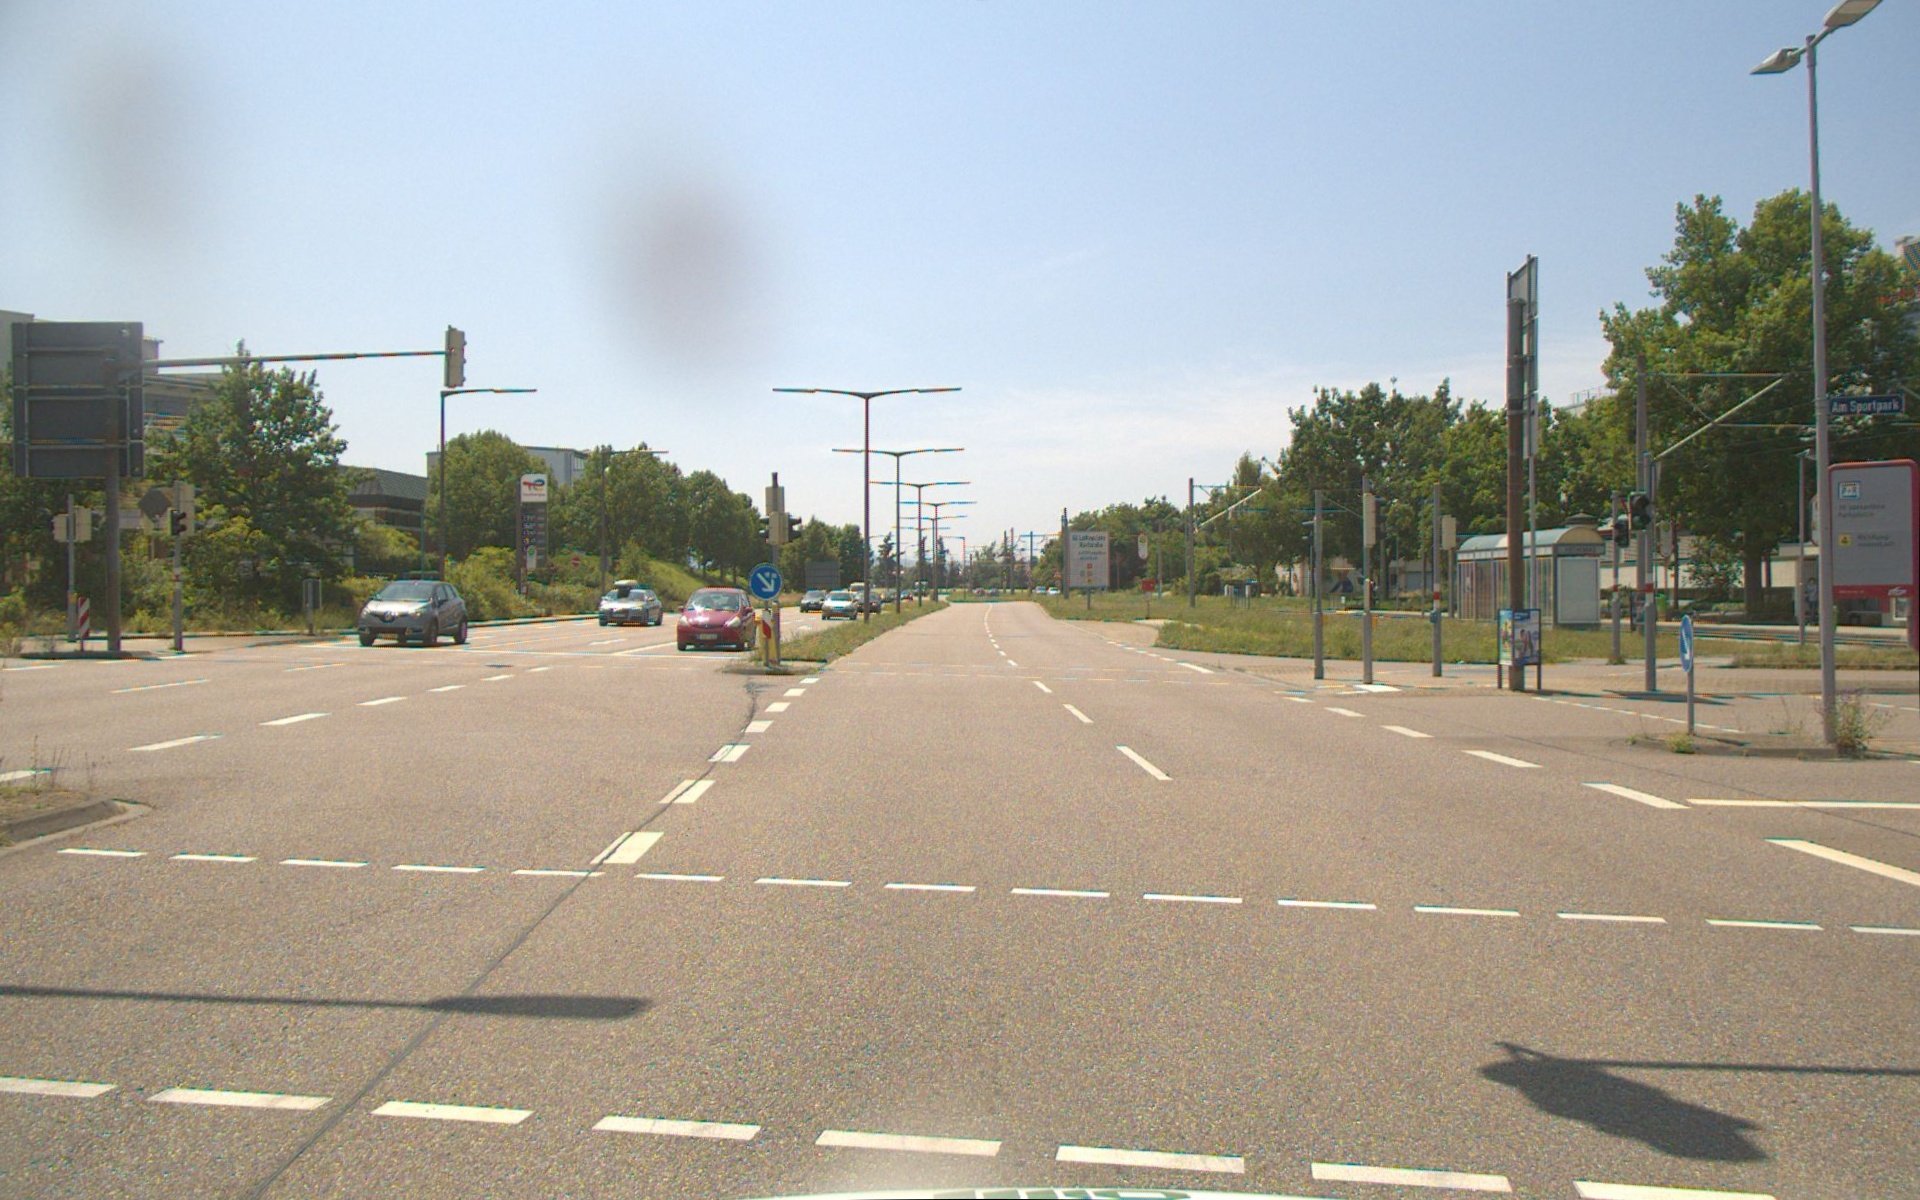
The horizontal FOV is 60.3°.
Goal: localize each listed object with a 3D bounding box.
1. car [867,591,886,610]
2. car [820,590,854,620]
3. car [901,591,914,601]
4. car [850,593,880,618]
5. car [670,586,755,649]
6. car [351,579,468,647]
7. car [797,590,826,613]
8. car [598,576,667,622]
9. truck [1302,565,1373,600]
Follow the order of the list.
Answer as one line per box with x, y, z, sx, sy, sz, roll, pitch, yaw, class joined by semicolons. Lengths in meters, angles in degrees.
-9.181;0.097;182.087;1.954;2.049;3.997;1;0;-4;car
-6.184;0.233;83.372;1.529;1.448;3.853;0;1;-2;car
-8.007;-0.614;251.759;1.695;1.483;4.566;0;0;2;car
-5.784;0.303;100.984;1.642;1.459;4.190;0;0;-1;car
-6.211;0.408;41.848;1.625;1.516;3.999;0;0;-2;car
-13.554;0.284;40.946;1.625;1.566;3.999;1;0;-2;car
-9.781;0.080;109.177;1.604;1.454;4.051;0;0;0;car
-13.124;-0.046;66.596;1.925;1.780;5.020;0;0;-2;car
33.799;-1.588;148.109;5.730;2.893;2.316;-2;0;-8;truck
